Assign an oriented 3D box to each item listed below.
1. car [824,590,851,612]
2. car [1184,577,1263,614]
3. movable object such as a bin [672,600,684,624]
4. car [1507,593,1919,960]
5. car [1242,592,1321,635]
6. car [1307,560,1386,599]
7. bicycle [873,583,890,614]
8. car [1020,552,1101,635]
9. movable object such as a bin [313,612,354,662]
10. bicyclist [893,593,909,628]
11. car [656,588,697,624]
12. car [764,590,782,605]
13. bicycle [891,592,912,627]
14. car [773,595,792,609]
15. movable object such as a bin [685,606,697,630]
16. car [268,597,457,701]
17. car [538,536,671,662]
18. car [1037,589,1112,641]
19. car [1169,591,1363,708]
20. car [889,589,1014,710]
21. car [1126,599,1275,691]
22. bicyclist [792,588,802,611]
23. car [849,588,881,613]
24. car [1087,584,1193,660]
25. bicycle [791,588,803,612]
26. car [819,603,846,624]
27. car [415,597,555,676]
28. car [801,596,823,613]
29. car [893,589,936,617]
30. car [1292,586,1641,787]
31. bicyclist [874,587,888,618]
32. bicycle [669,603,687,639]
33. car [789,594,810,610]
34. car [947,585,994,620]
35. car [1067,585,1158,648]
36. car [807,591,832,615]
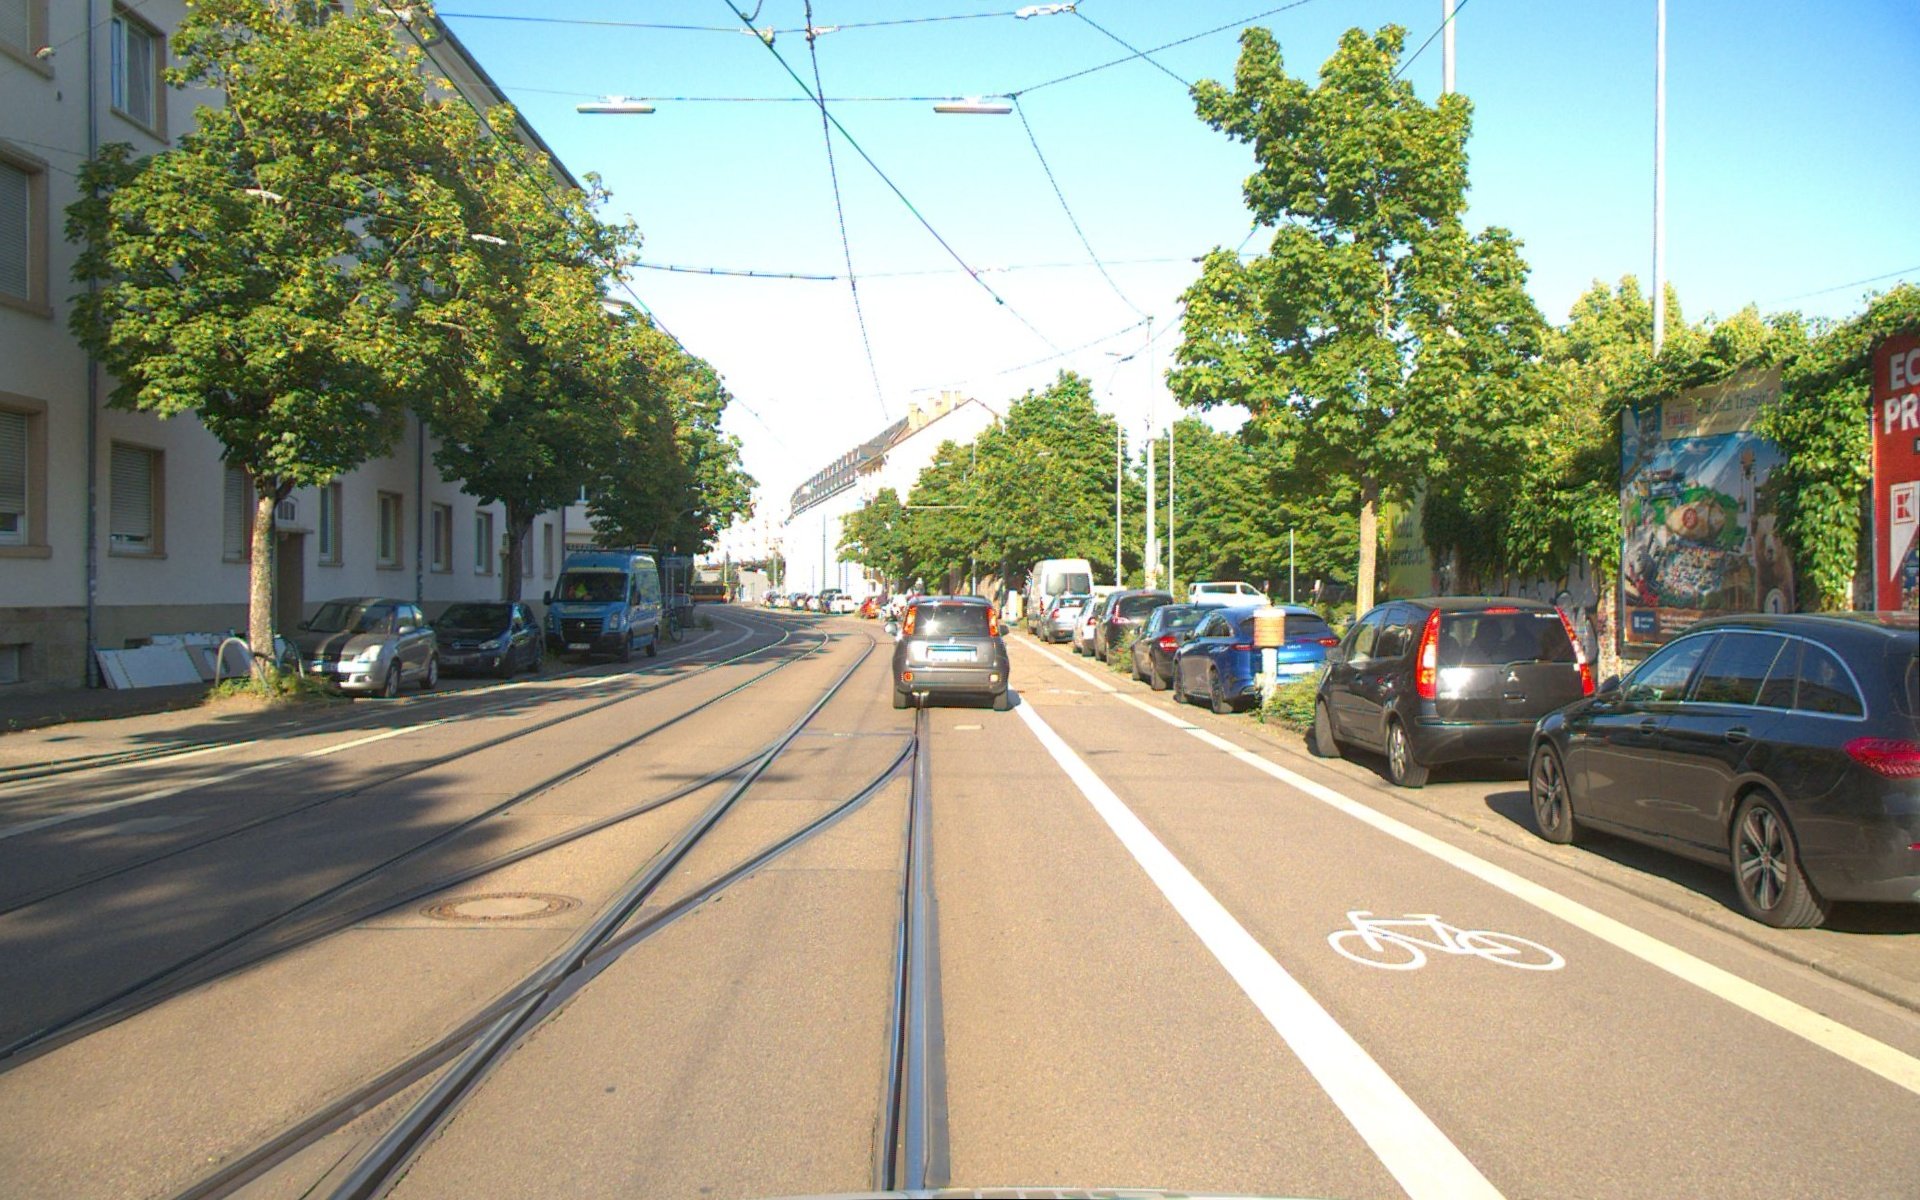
[{"bbox_3d":[-9.401,0.073,127.132,1.626,1.599,3.489,1,0,-12],"label":"car"},{"bbox_3d":[15.380,-0.260,96.524,4.199,2.049,1.771,-2,0,-7],"label":"car"},{"bbox_3d":[-11.873,0.501,69.729,0.476,1.005,0.658,1,0,-9],"label":"movable object such as a bin"},{"bbox_3d":[4.671,0.704,9.015,1.787,1.477,4.641,0,0,-1],"label":"car"},{"bbox_3d":[8.128,0.330,42.031,1.283,1.051,3.055,1,0,-2],"label":"car"},{"bbox_3d":[23.142,-1.210,99.145,4.116,2.280,2.136,-1,0,-14],"label":"car"},{"bbox_3d":[-4.535,-0.104,95.574,0.663,1.777,2.151,1,0,-12],"label":"bicycle"},{"bbox_3d":[3.492,-0.221,58.795,2.136,2.712,6.087,-2,0,-3],"label":"car"},{"bbox_3d":[-12.078,0.707,31.877,0.584,0.951,0.568,0,0,-4],"label":"movable object such as a bin"},{"bbox_3d":[-3.050,0.536,86.065,0.687,1.790,0.755,1,0,-12],"label":"bicyclist"},{"bbox_3d":[-12.732,0.246,74.365,1.657,1.557,3.993,1,0,-8],"label":"car"},{"bbox_3d":[-20.446,-0.295,180.904,1.555,1.627,3.366,1,0,-12],"label":"car"},{"bbox_3d":[-3.047,0.466,86.043,0.663,1.777,2.151,1,0,-12],"label":"bicycle"},{"bbox_3d":[-18.164,0.196,169.064,1.555,1.430,3.366,1,0,-12],"label":"car"},{"bbox_3d":[-11.358,0.744,69.815,0.476,1.005,0.658,1,0,-9],"label":"movable object such as a bin"},{"bbox_3d":[-9.512,0.730,26.645,1.618,1.517,3.999,1,0,-1],"label":"car"},{"bbox_3d":[-8.691,-0.021,40.999,1.976,2.875,6.031,1,0,0],"label":"car"},{"bbox_3d":[3.553,0.454,52.100,1.872,1.556,4.598,-1,0,-2],"label":"car"},{"bbox_3d":[4.254,0.647,23.645,1.694,1.489,4.337,1,0,-4],"label":"car"},{"bbox_3d":[-0.167,0.647,23.928,1.617,1.568,4.233,1,0,-1],"label":"car"},{"bbox_3d":[4.190,0.735,29.486,1.694,1.489,4.494,1,0,-4],"label":"car"},{"bbox_3d":[-14.137,-0.053,143.562,0.702,2.049,0.829,1,0,-12],"label":"bicyclist"},{"bbox_3d":[-6.296,0.021,109.069,1.606,1.534,3.388,-3,1,-11],"label":"car"},{"bbox_3d":[4.087,0.479,38.170,1.694,1.632,4.339,1,0,-4],"label":"car"},{"bbox_3d":[-14.138,-0.029,143.497,0.728,2.049,2.803,1,0,-12],"label":"bicycle"},{"bbox_3d":[-10.151,1.093,131.443,1.626,1.599,3.865,1,0,-12],"label":"car"},{"bbox_3d":[-9.375,0.675,32.967,1.618,1.450,4.189,1,0,-1],"label":"car"},{"bbox_3d":[-13.312,0.410,148.297,1.626,1.526,3.120,1,0,-12],"label":"car"},{"bbox_3d":[-2.628,0.171,94.338,1.660,1.556,3.986,-2,0,-14],"label":"car"},{"bbox_3d":[4.407,0.679,15.020,1.788,1.519,3.812,-2,0,-3],"label":"car"},{"bbox_3d":[-4.565,0.159,95.537,0.687,1.790,0.755,1,0,-12],"label":"bicyclist"},{"bbox_3d":[-9.271,0.675,54.329,0.502,1.154,2.027,1,0,-8],"label":"bicycle"},{"bbox_3d":[-15.199,0.155,156.675,1.555,1.429,3.366,-4,1,-12],"label":"car"},{"bbox_3d":[0.460,0.102,78.040,1.657,1.556,3.993,-2,0,-8],"label":"car"},{"bbox_3d":[3.899,0.403,42.955,1.694,1.538,4.248,1,0,-4],"label":"car"},{"bbox_3d":[-12.101,0.235,142.509,1.626,1.978,4.651,1,0,-12],"label":"car"}]
